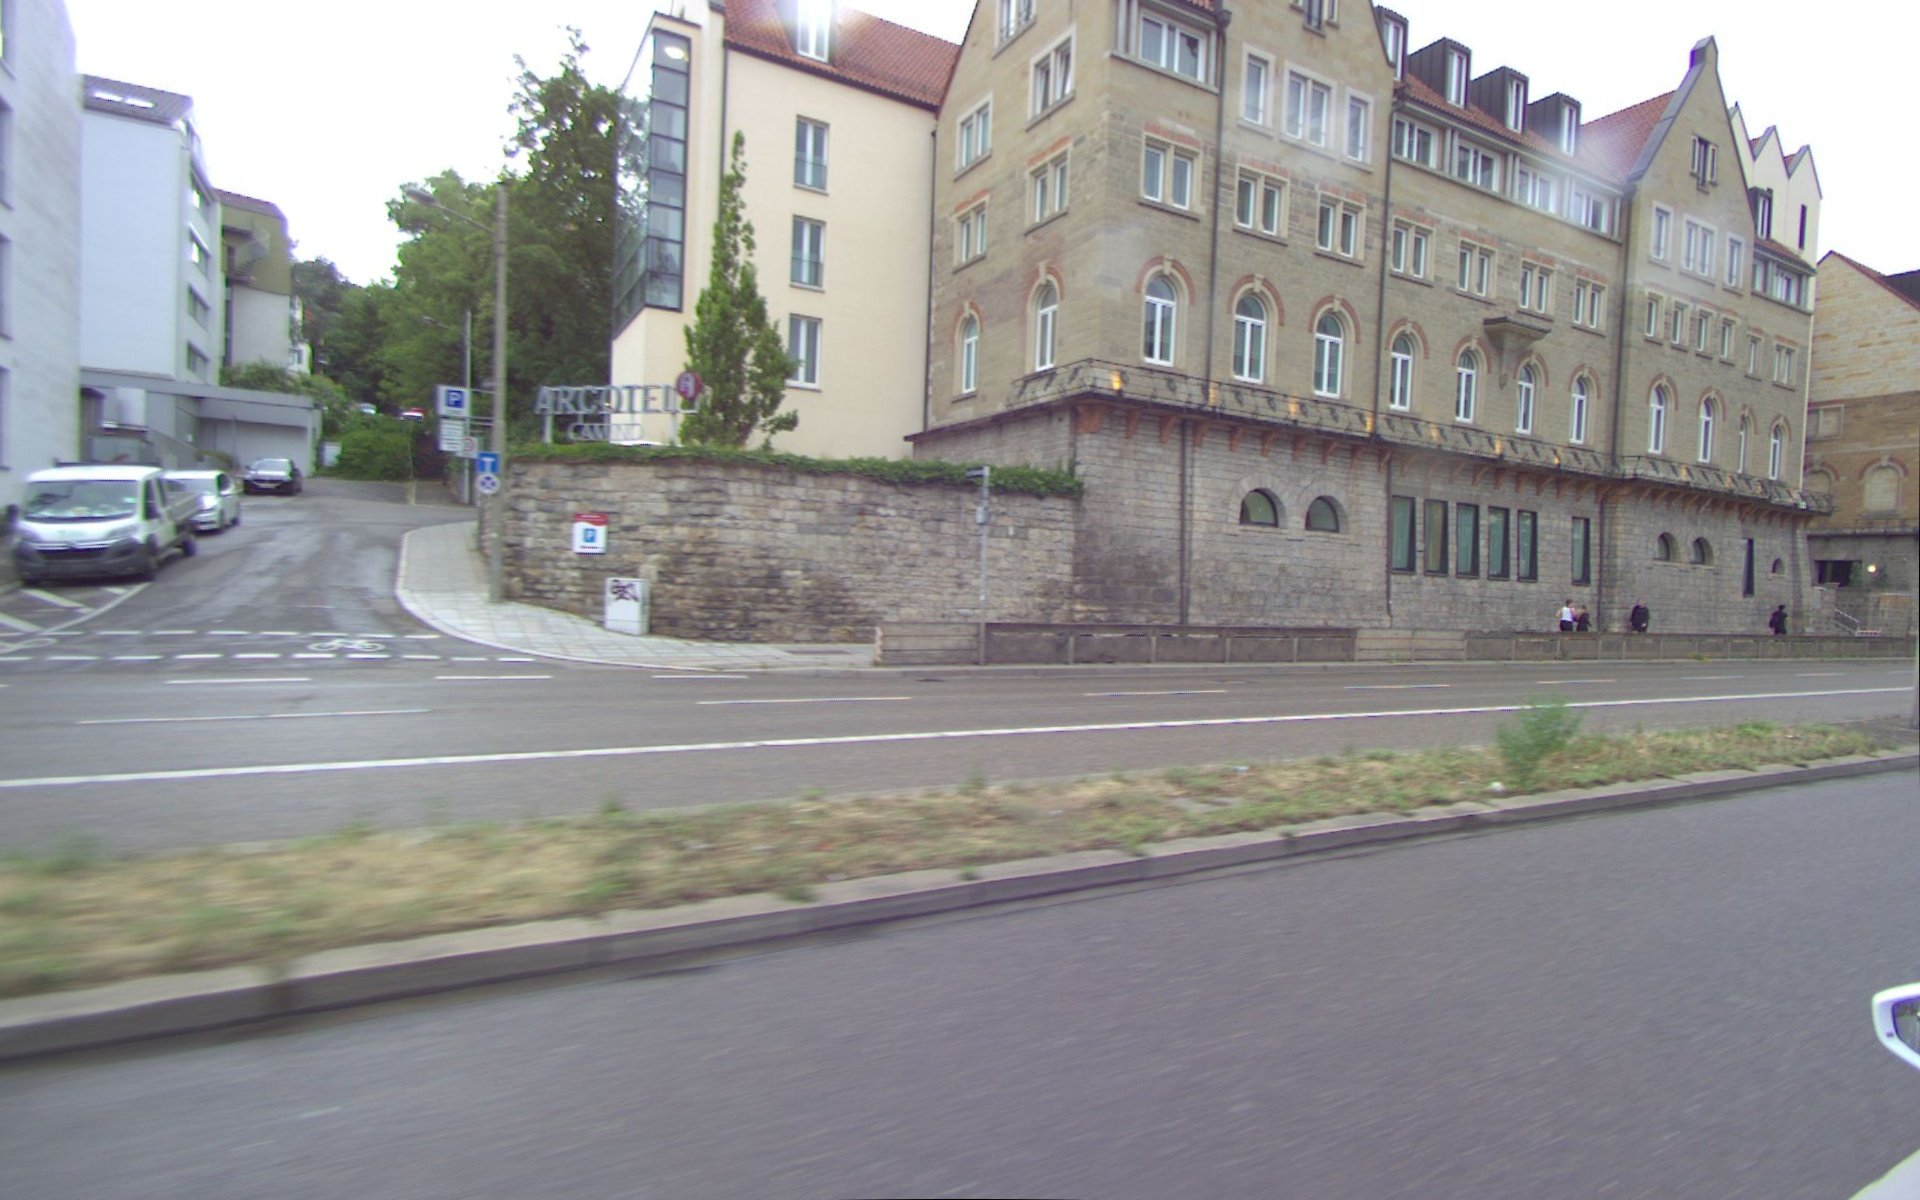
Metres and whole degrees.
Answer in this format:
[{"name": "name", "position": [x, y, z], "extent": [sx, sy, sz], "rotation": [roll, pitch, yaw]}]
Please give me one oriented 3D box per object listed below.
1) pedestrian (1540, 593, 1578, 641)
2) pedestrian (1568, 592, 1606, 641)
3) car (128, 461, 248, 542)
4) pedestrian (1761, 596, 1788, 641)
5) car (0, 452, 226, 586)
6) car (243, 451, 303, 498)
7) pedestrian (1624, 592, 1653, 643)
[{"name": "pedestrian", "position": [18.913, 0.519, 31.713], "extent": [0.705, 1.498, 0.750], "rotation": [0, 1, -30]}, {"name": "pedestrian", "position": [19.419, 0.507, 31.111], "extent": [0.705, 1.498, 0.750], "rotation": [0, 1, -30]}, {"name": "car", "position": [-21.990, -2.862, 28.797], "extent": [1.974, 1.807, 3.971], "rotation": [-2, 12, -27]}, {"name": "pedestrian", "position": [32.782, 0.732, 40.422], "extent": [0.614, 1.769, 0.637], "rotation": [0, 1, -31]}, {"name": "car", "position": [-18.288, -1.970, 21.970], "extent": [2.482, 2.308, 6.872], "rotation": [-3, 10, -27]}, {"name": "car", "position": [-29.029, -5.347, 42.549], "extent": [1.792, 1.707, 3.781], "rotation": [0, 8, -30]}, {"name": "pedestrian", "position": [23.795, 0.591, 35.230], "extent": [0.614, 1.769, 0.637], "rotation": [0, 1, -31]}]
